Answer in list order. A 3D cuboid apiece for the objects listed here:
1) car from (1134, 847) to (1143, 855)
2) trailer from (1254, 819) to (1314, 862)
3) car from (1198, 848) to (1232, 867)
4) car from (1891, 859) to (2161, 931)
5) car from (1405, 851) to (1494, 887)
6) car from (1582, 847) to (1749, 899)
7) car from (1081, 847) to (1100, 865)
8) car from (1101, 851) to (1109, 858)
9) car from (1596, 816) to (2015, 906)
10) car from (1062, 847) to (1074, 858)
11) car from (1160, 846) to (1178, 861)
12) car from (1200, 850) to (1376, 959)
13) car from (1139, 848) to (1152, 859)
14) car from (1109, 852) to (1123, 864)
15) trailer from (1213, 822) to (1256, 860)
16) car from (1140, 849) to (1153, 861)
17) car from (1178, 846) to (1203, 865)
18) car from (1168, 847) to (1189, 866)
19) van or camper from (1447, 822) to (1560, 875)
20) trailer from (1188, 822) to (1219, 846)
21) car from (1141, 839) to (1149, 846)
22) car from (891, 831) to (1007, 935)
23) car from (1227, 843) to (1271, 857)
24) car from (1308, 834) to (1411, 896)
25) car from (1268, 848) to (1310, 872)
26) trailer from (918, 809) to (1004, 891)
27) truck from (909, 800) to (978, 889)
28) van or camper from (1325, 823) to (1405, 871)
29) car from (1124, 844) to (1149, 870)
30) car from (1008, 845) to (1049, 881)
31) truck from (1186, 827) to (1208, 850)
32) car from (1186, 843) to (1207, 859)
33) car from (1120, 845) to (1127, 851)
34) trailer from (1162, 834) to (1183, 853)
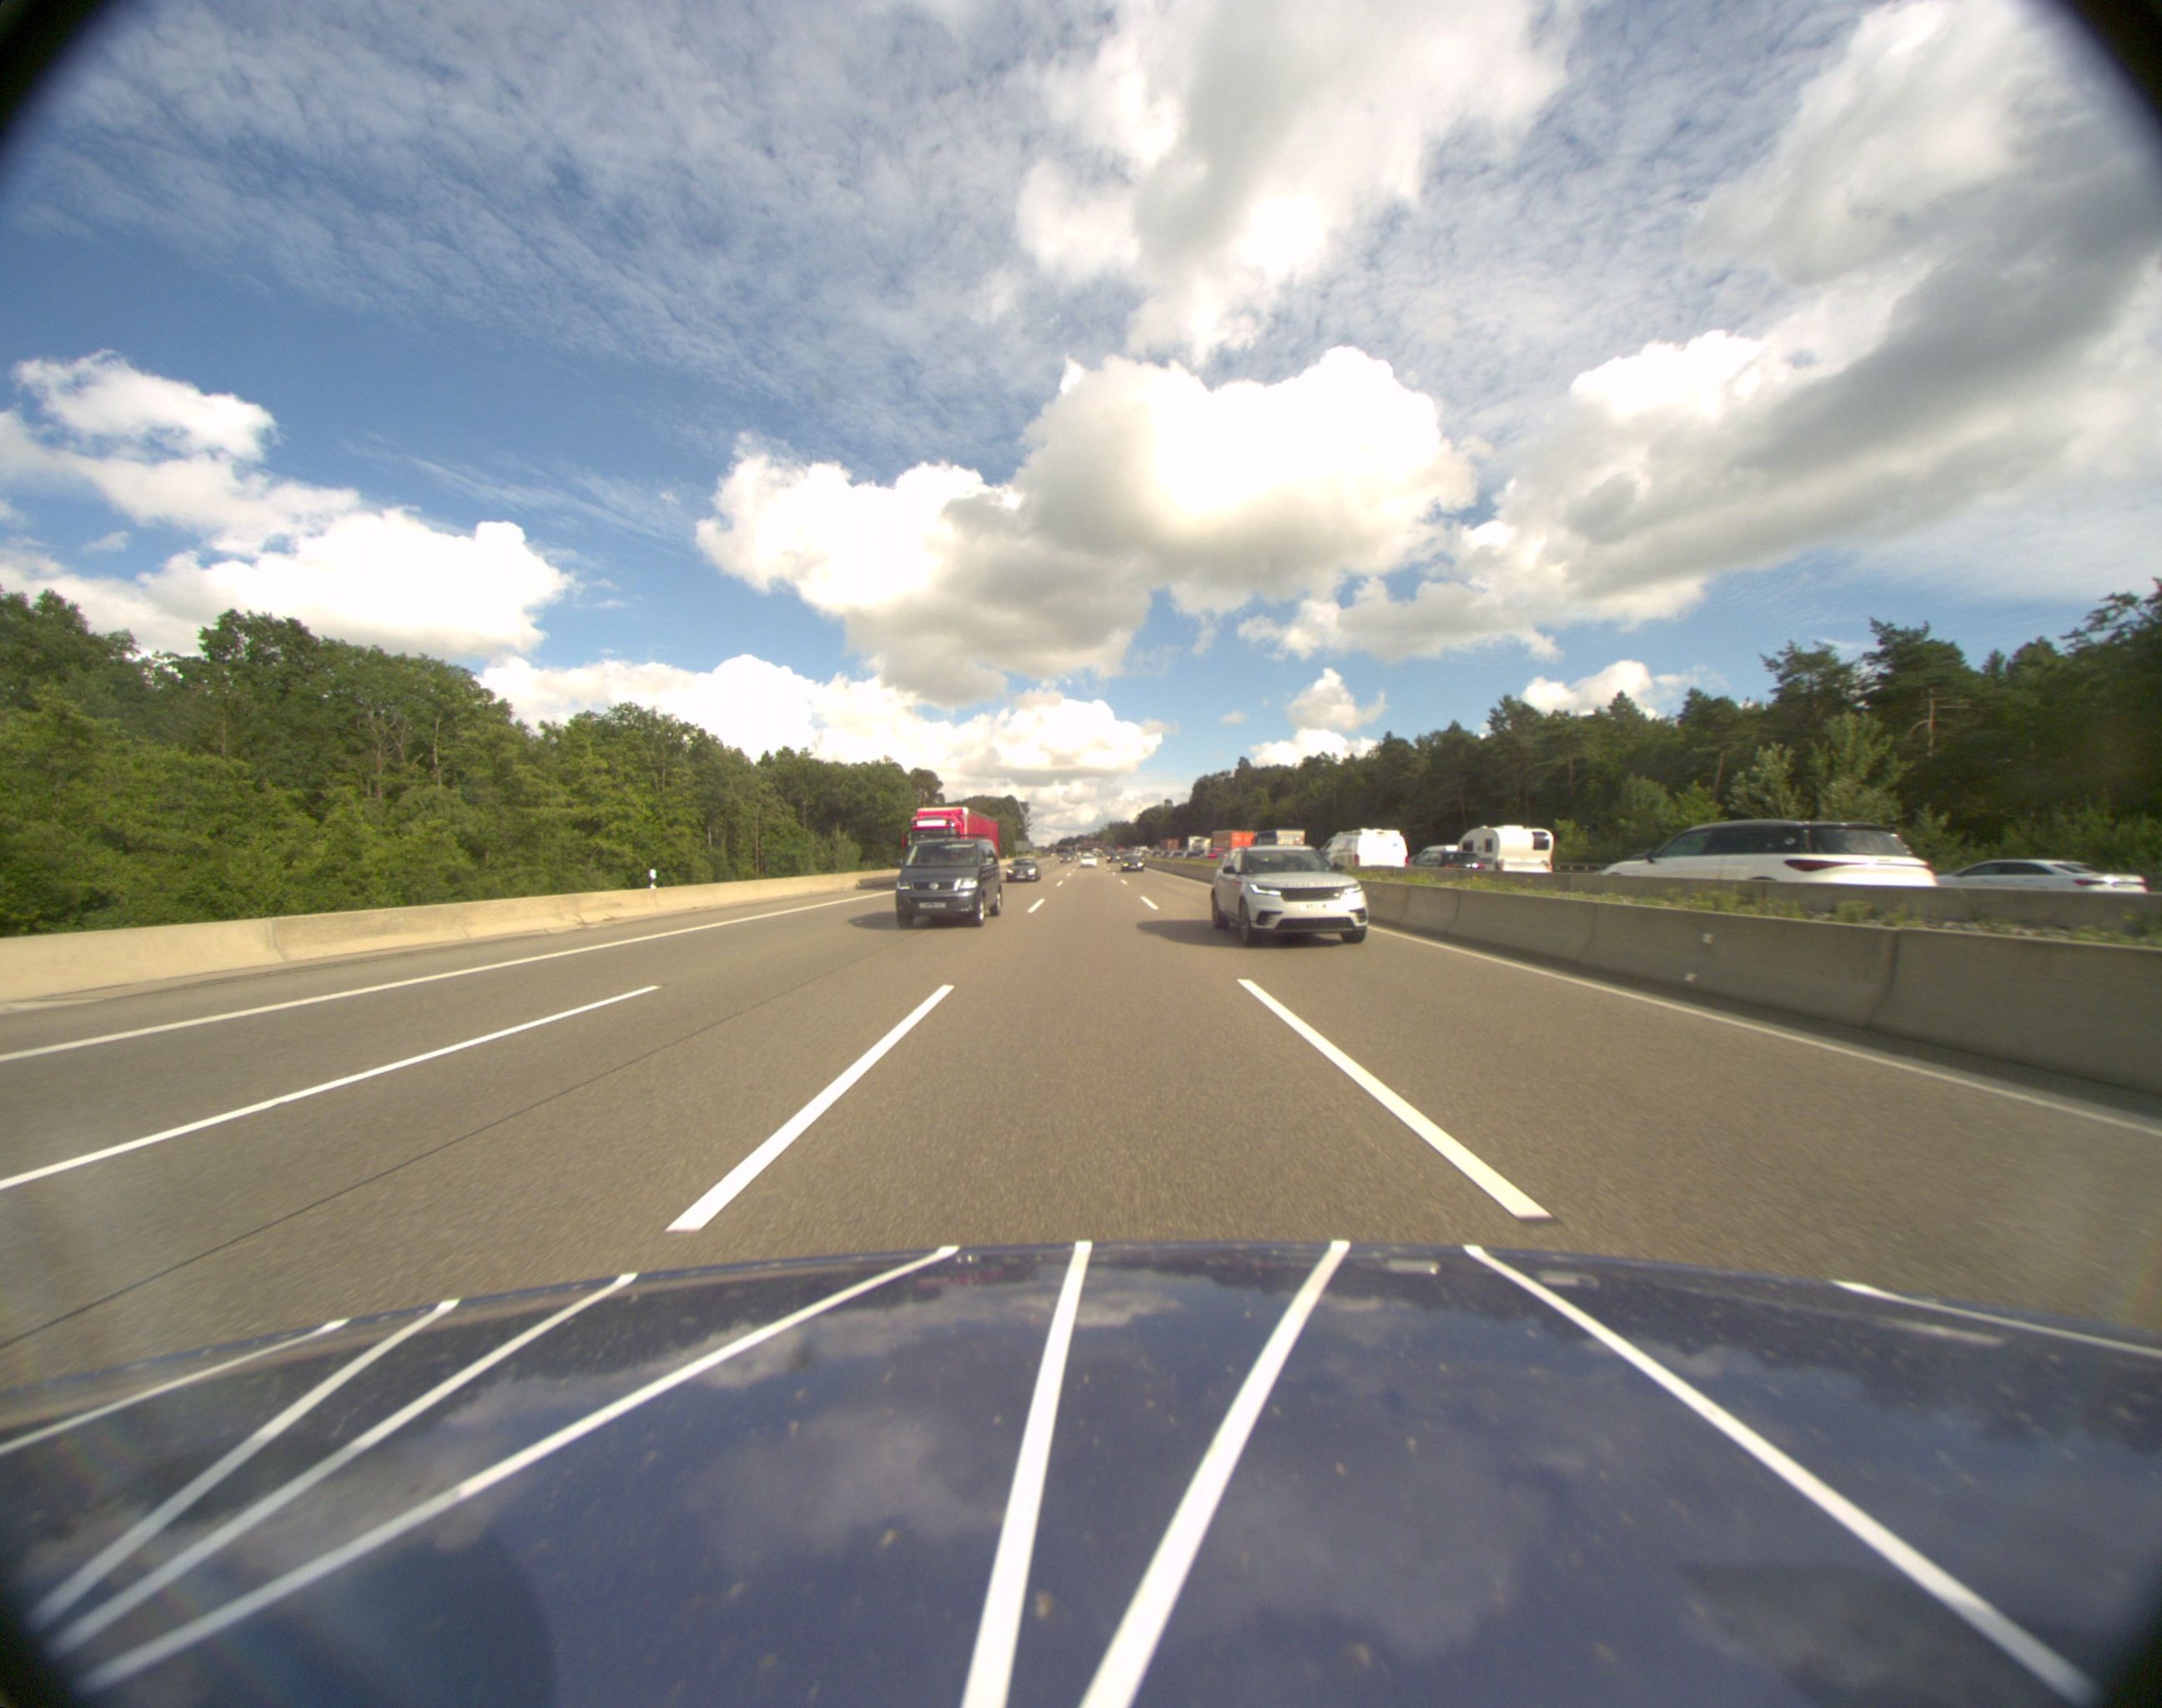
[{"bbox_3d":[11.615,-0.540,153.711,1.515,1.552,3.999,-1,1,-1],"label":"car"},{"bbox_3d":[18.694,-1.272,70.586,2.895,3.637,10.218,-1,1,1],"label":"trailer"},{"bbox_3d":[10.735,0.249,61.050,1.837,1.379,4.903,-1,1,0],"label":"car"},{"bbox_3d":[25.417,1.016,20.737,1.837,1.645,4.481,-2,0,0],"label":"car"},{"bbox_3d":[14.125,0.537,29.325,1.667,1.249,3.590,-2,0,0],"label":"car"},{"bbox_3d":[17.694,0.511,23.326,1.703,1.382,4.434,-2,0,0],"label":"car"},{"bbox_3d":[1.127,0.227,87.162,1.998,2.002,4.000,-2,0,2],"label":"car"},{"bbox_3d":[6.408,0.089,202.975,1.804,1.783,3.758,-1,0,1],"label":"car"},{"bbox_3d":[9.624,0.065,10.742,1.647,0.934,4.488,-2,0,0],"label":"car"},{"bbox_3d":[-2.127,-0.241,125.775,1.911,1.582,4.286,-2,1,-2],"label":"car"},{"bbox_3d":[11.520,-0.032,99.807,1.821,1.871,4.903,-1,1,0],"label":"car"},{"bbox_3d":[3.527,0.754,14.019,1.904,1.597,5.105,-2,0,1],"label":"car"},{"bbox_3d":[10.942,-0.079,128.714,1.821,1.735,4.903,-1,1,1],"label":"car"},{"bbox_3d":[5.124,0.633,112.934,1.911,1.582,4.287,-2,1,1],"label":"car"},{"bbox_3d":[18.998,-1.643,94.876,2.646,4.295,13.175,-3,1,1],"label":"trailer"},{"bbox_3d":[11.023,0.184,128.758,1.821,1.871,4.903,-1,1,1],"label":"car"},{"bbox_3d":[10.652,0.127,74.250,1.821,1.754,4.630,-1,1,0],"label":"car"},{"bbox_3d":[10.914,0.215,85.228,1.747,2.002,4.682,-2,1,1],"label":"car"},{"bbox_3d":[17.979,-0.236,32.660,2.289,2.000,4.688,-2,0,1],"label":"van or camper"},{"bbox_3d":[19.171,-3.044,119.434,2.957,3.478,12.230,-2,1,1],"label":"trailer"},{"bbox_3d":[19.957,-3.500,236.902,1.998,2.002,4.000,-1,1,1],"label":"car"},{"bbox_3d":[-3.015,0.617,18.465,1.927,2.153,4.961,-1,0,0],"label":"car"},{"bbox_3d":[9.955,-0.257,45.384,1.651,0.720,4.447,-2,0,0],"label":"car"},{"bbox_3d":[10.114,0.353,28.105,1.837,2.050,5.500,0,0,0],"label":"car"},{"bbox_3d":[15.028,0.412,55.082,1.837,1.650,4.271,-1,1,0],"label":"car"},{"bbox_3d":[-6.785,-0.279,45.545,2.531,4.096,14.376,-1,1,1],"label":"trailer"},{"bbox_3d":[-6.910,-0.476,38.743,2.532,4.178,4.653,-1,1,1],"label":"truck"},{"bbox_3d":[18.343,-0.541,49.584,2.476,2.873,7.480,-2,2,1],"label":"van or camper"},{"bbox_3d":[4.620,0.219,63.702,1.919,2.002,4.000,-2,0,2],"label":"car"},{"bbox_3d":[-3.148,0.513,46.282,1.998,2.002,4.000,-3,1,2],"label":"car"},{"bbox_3d":[19.274,-2.510,126.320,2.964,3.725,5.108,-1,1,1],"label":"truck"},{"bbox_3d":[14.948,-0.361,98.355,1.998,1.949,4.990,-2,1,1],"label":"car"},{"bbox_3d":[12.923,-1.806,231.296,1.998,1.838,4.000,-1,1,1],"label":"car"},{"bbox_3d":[19.963,-2.283,166.180,2.957,3.961,12.889,-2,1,1],"label":"trailer"}]
